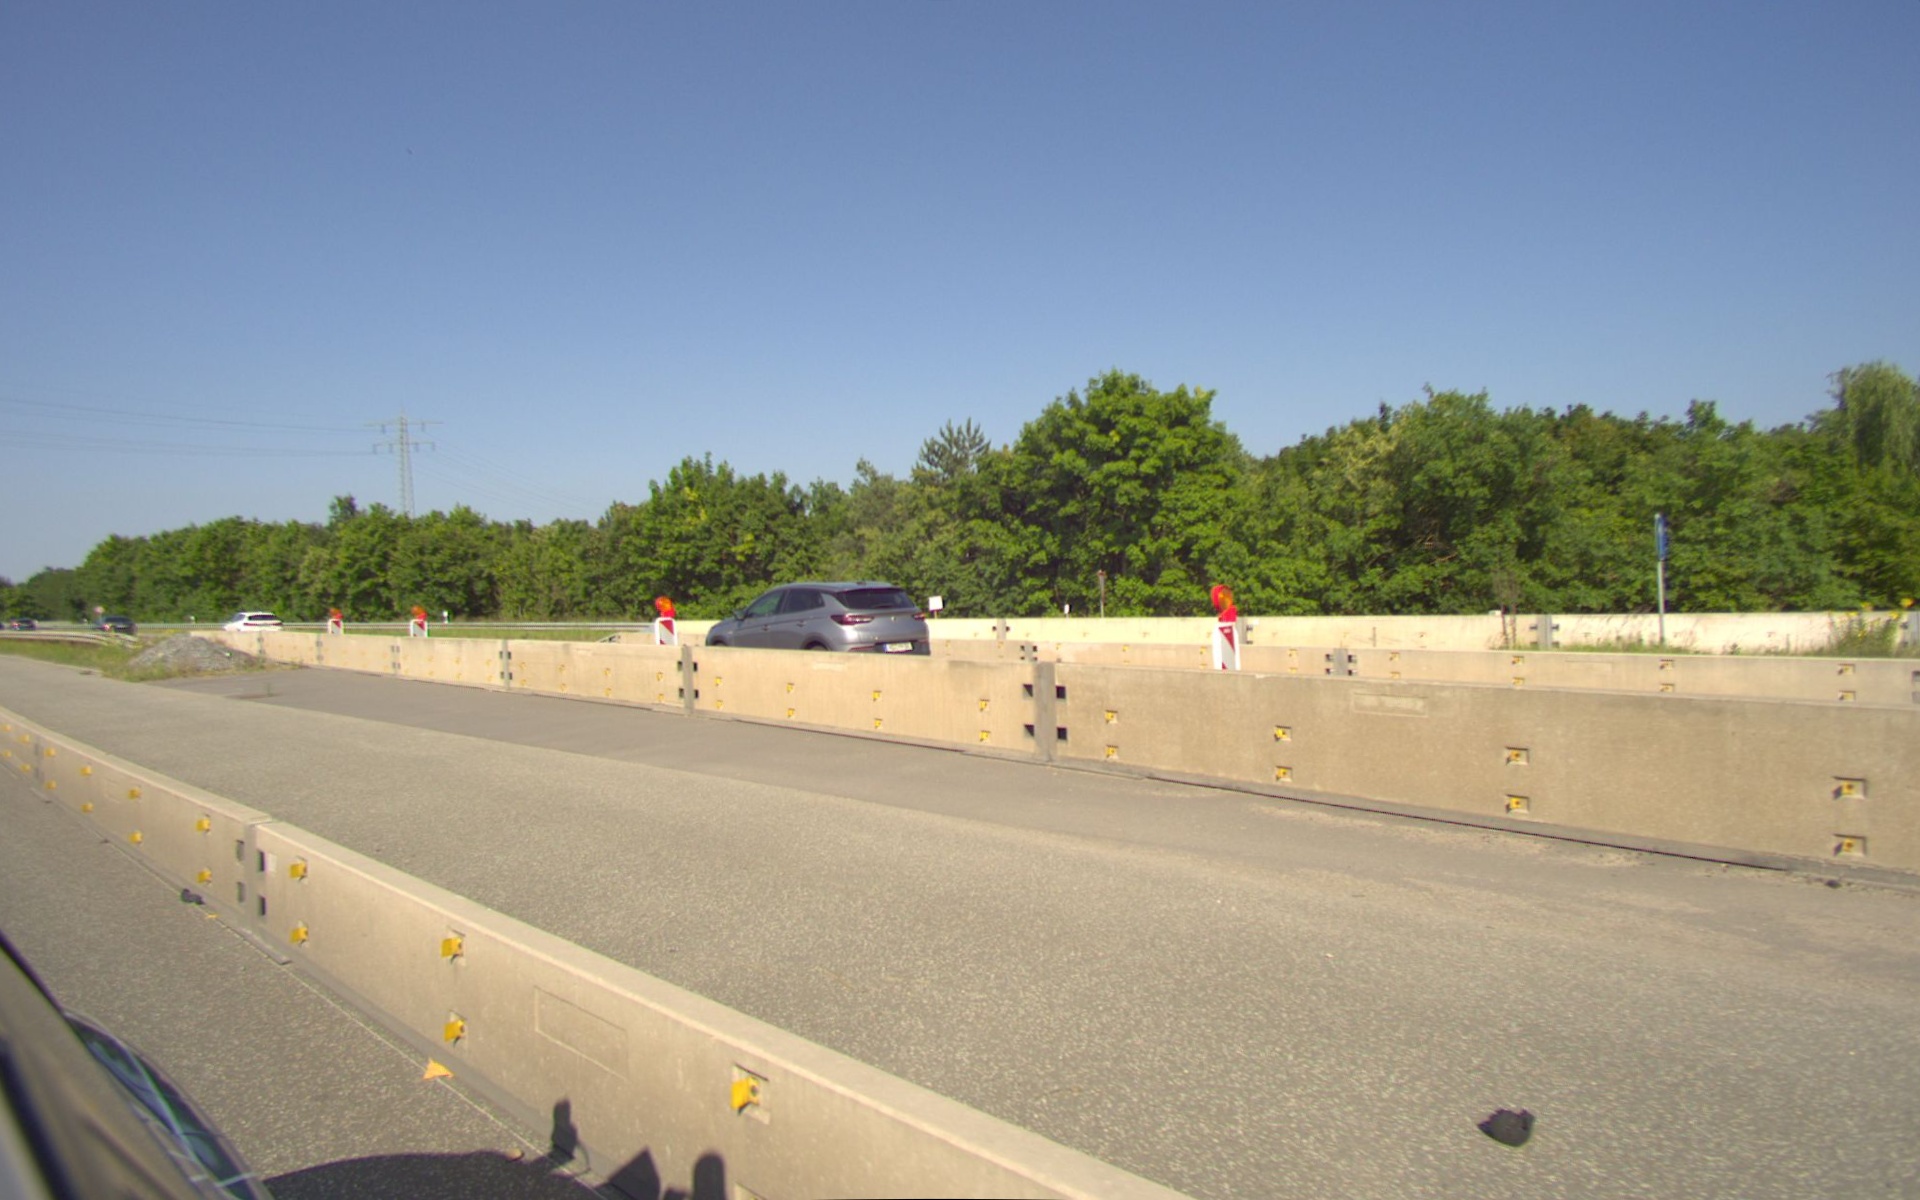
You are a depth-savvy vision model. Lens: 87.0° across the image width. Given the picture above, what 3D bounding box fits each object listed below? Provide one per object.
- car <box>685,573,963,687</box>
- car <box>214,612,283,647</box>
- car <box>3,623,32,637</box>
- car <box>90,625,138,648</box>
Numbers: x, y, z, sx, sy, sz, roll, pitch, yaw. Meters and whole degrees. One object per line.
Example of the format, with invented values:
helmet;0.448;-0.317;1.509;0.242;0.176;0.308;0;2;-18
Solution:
car;-2.270;0.426;15.914;1.970;1.527;4.584;-2;0;-44
car;-34.578;1.425;49.155;4.438;1.620;1.798;-2;-1;42
car;-100.227;3.199;107.611;4.589;1.445;1.778;-2;0;41
car;-56.408;2.439;67.460;4.811;1.451;1.820;-2;-1;42
